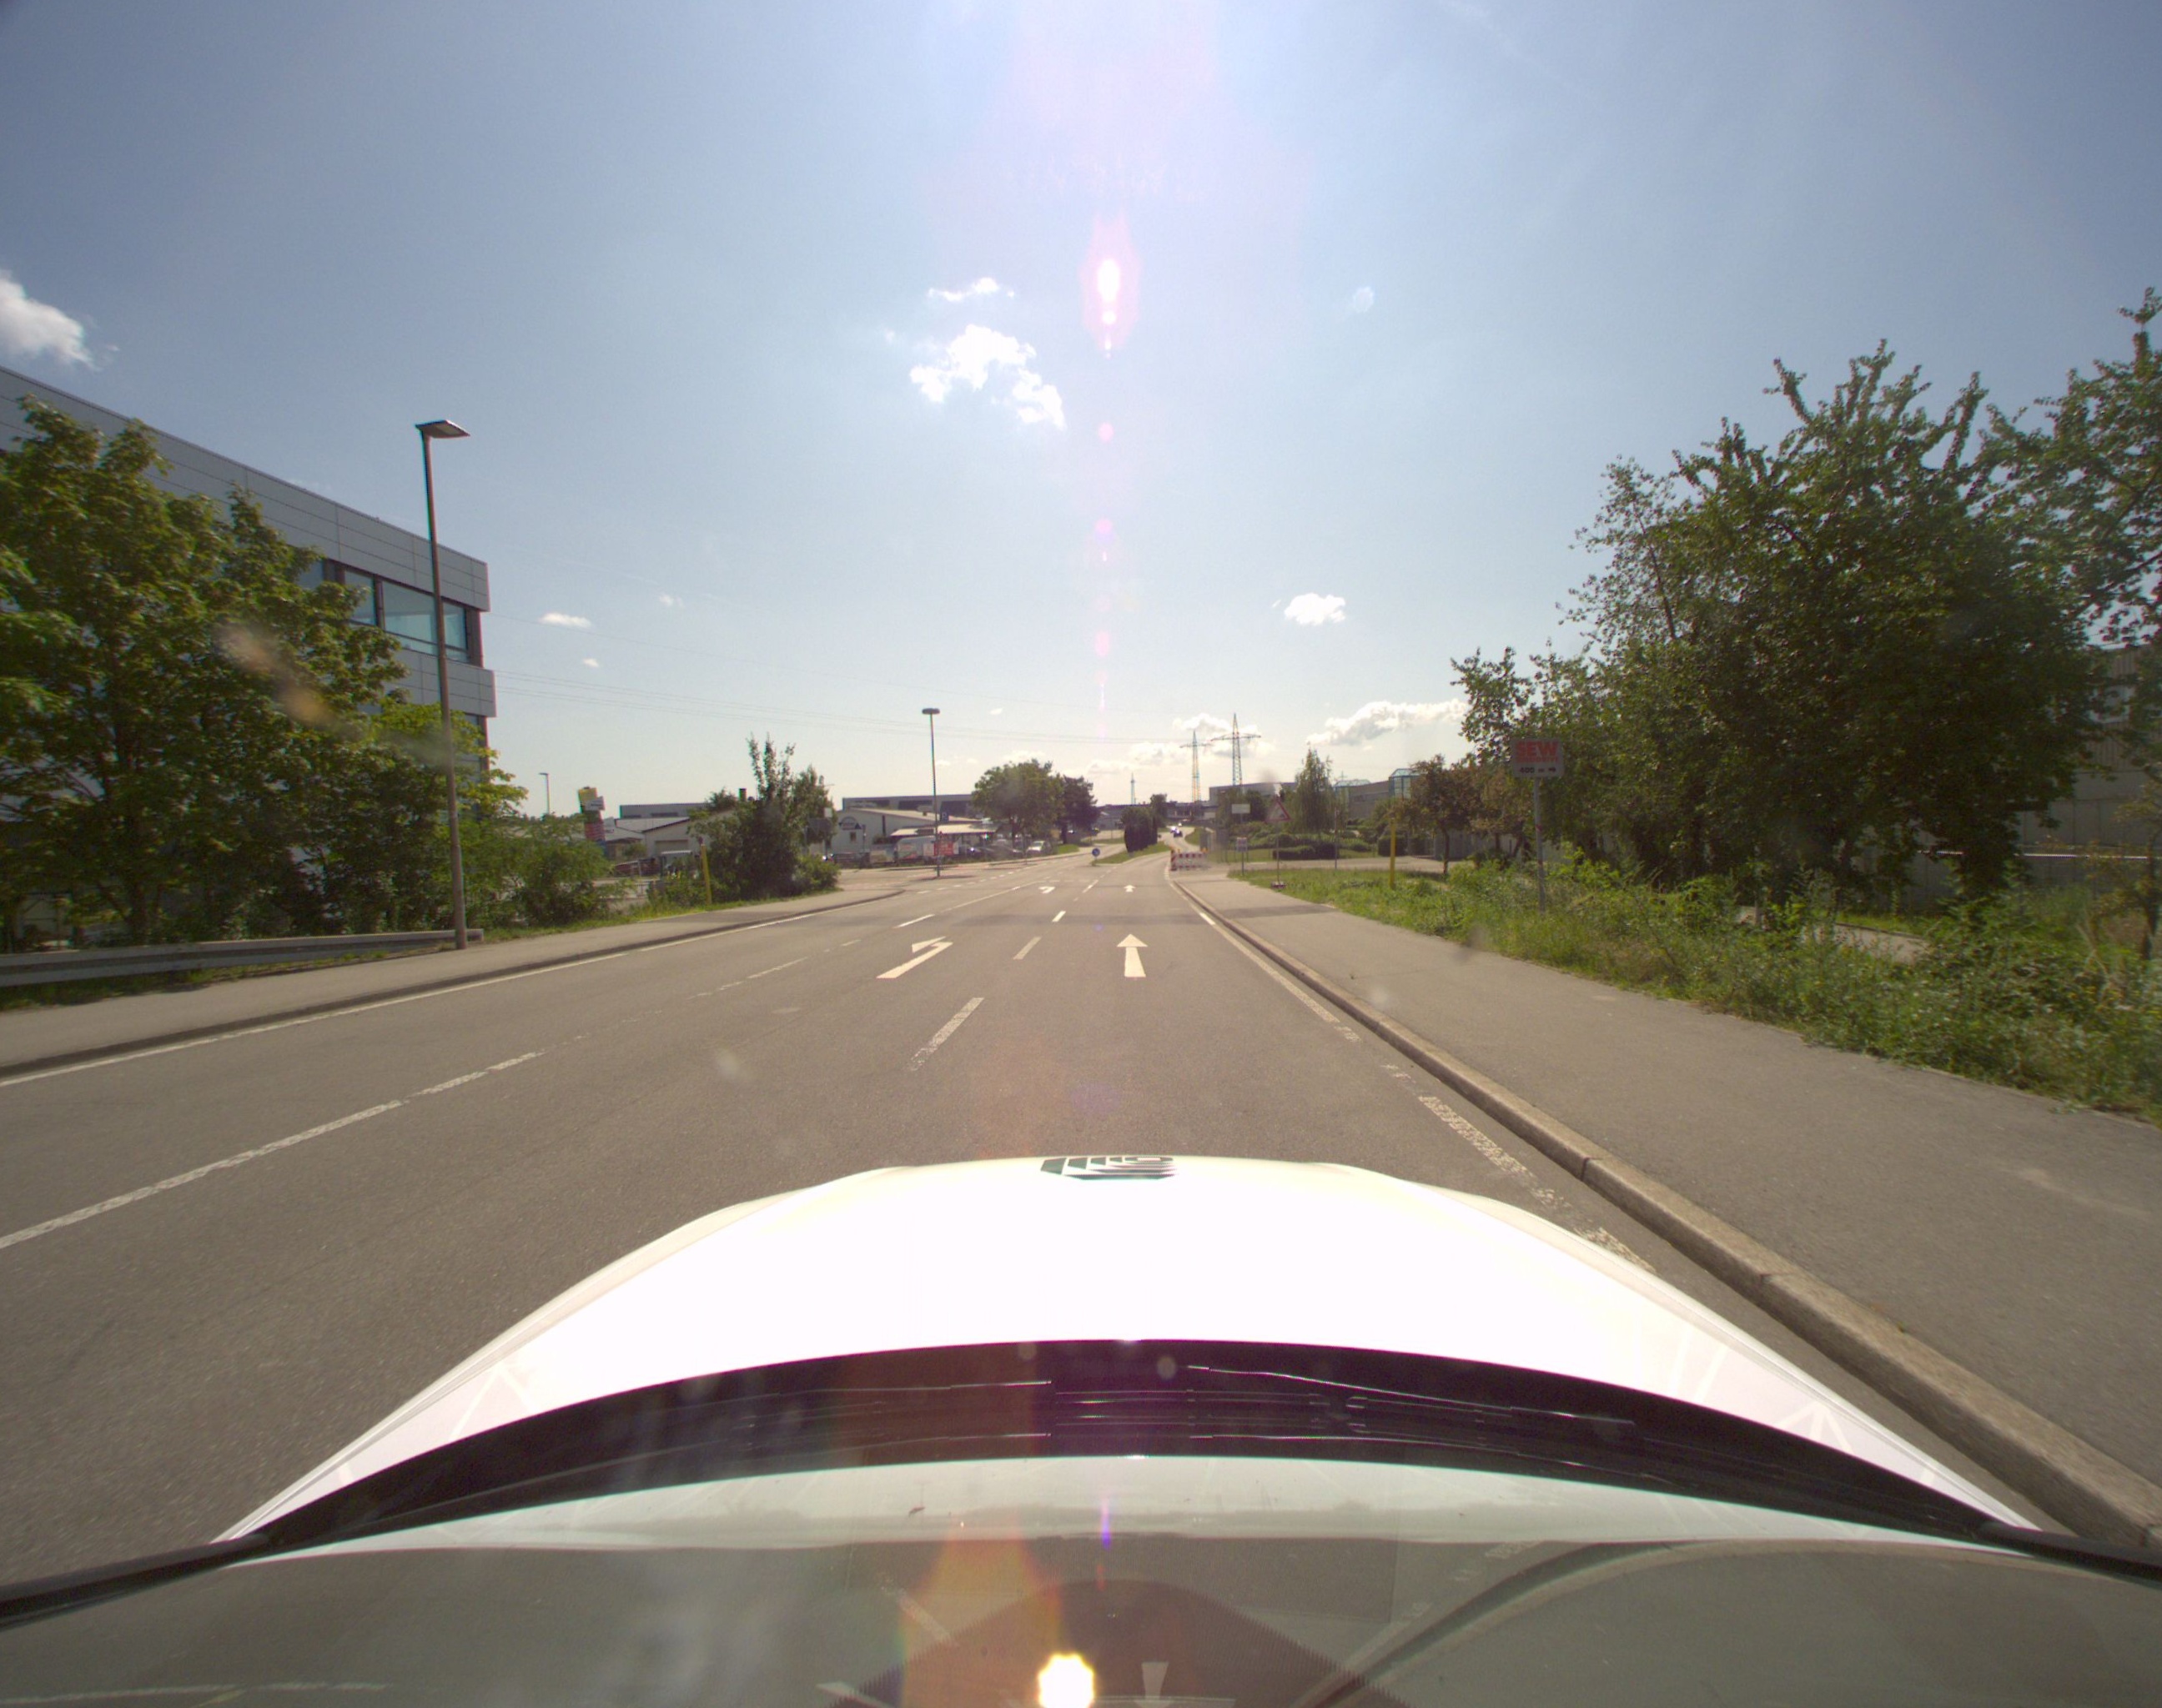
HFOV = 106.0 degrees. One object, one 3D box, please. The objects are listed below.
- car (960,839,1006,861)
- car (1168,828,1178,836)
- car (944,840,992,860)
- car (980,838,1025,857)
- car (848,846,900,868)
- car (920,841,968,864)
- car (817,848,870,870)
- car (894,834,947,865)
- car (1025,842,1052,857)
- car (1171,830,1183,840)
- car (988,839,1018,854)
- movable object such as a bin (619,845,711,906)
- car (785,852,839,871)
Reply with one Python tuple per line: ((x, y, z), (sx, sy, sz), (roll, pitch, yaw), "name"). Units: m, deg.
((-9.381, -0.399, 77.897), (3.949, 1.903, 2.013), (0, 3, 30), "car")
((25.685, -6.168, 226.270), (2.475, 2.013, 4.679), (-1, 3, 10), "car")
((-10.543, -0.388, 75.940), (3.949, 1.780, 2.013), (0, 3, 31), "car")
((-7.985, -0.661, 82.740), (3.951, 1.903, 2.012), (0, 3, 24), "car")
((-17.321, 0.227, 68.156), (3.948, 1.679, 2.013), (0, 3, 34), "car")
((-12.410, -0.152, 73.753), (3.948, 1.903, 2.013), (0, 3, 35), "car")
((-19.292, 0.410, 66.162), (3.948, 1.653, 2.013), (0, 3, 34), "car")
((-14.142, -0.404, 71.812), (4.309, 2.608, 2.013), (-1, 1, 32), "car")
((-4.642, -0.511, 89.495), (1.814, 1.517, 3.606), (-2, 1, 18), "car")
((20.013, -3.978, 169.441), (2.261, 1.946, 4.673), (1, 2, 5), "car")
((-10.571, -1.062, 109.897), (3.984, 1.850, 1.830), (-2, 1, -8), "car")
((-19.902, 1.011, 39.296), (2.071, 2.698, 5.721), (-2, -1, -8), "movable object such as a bin")
((-21.296, 0.610, 64.470), (3.948, 1.376, 2.013), (-1, 1, 34), "car")
